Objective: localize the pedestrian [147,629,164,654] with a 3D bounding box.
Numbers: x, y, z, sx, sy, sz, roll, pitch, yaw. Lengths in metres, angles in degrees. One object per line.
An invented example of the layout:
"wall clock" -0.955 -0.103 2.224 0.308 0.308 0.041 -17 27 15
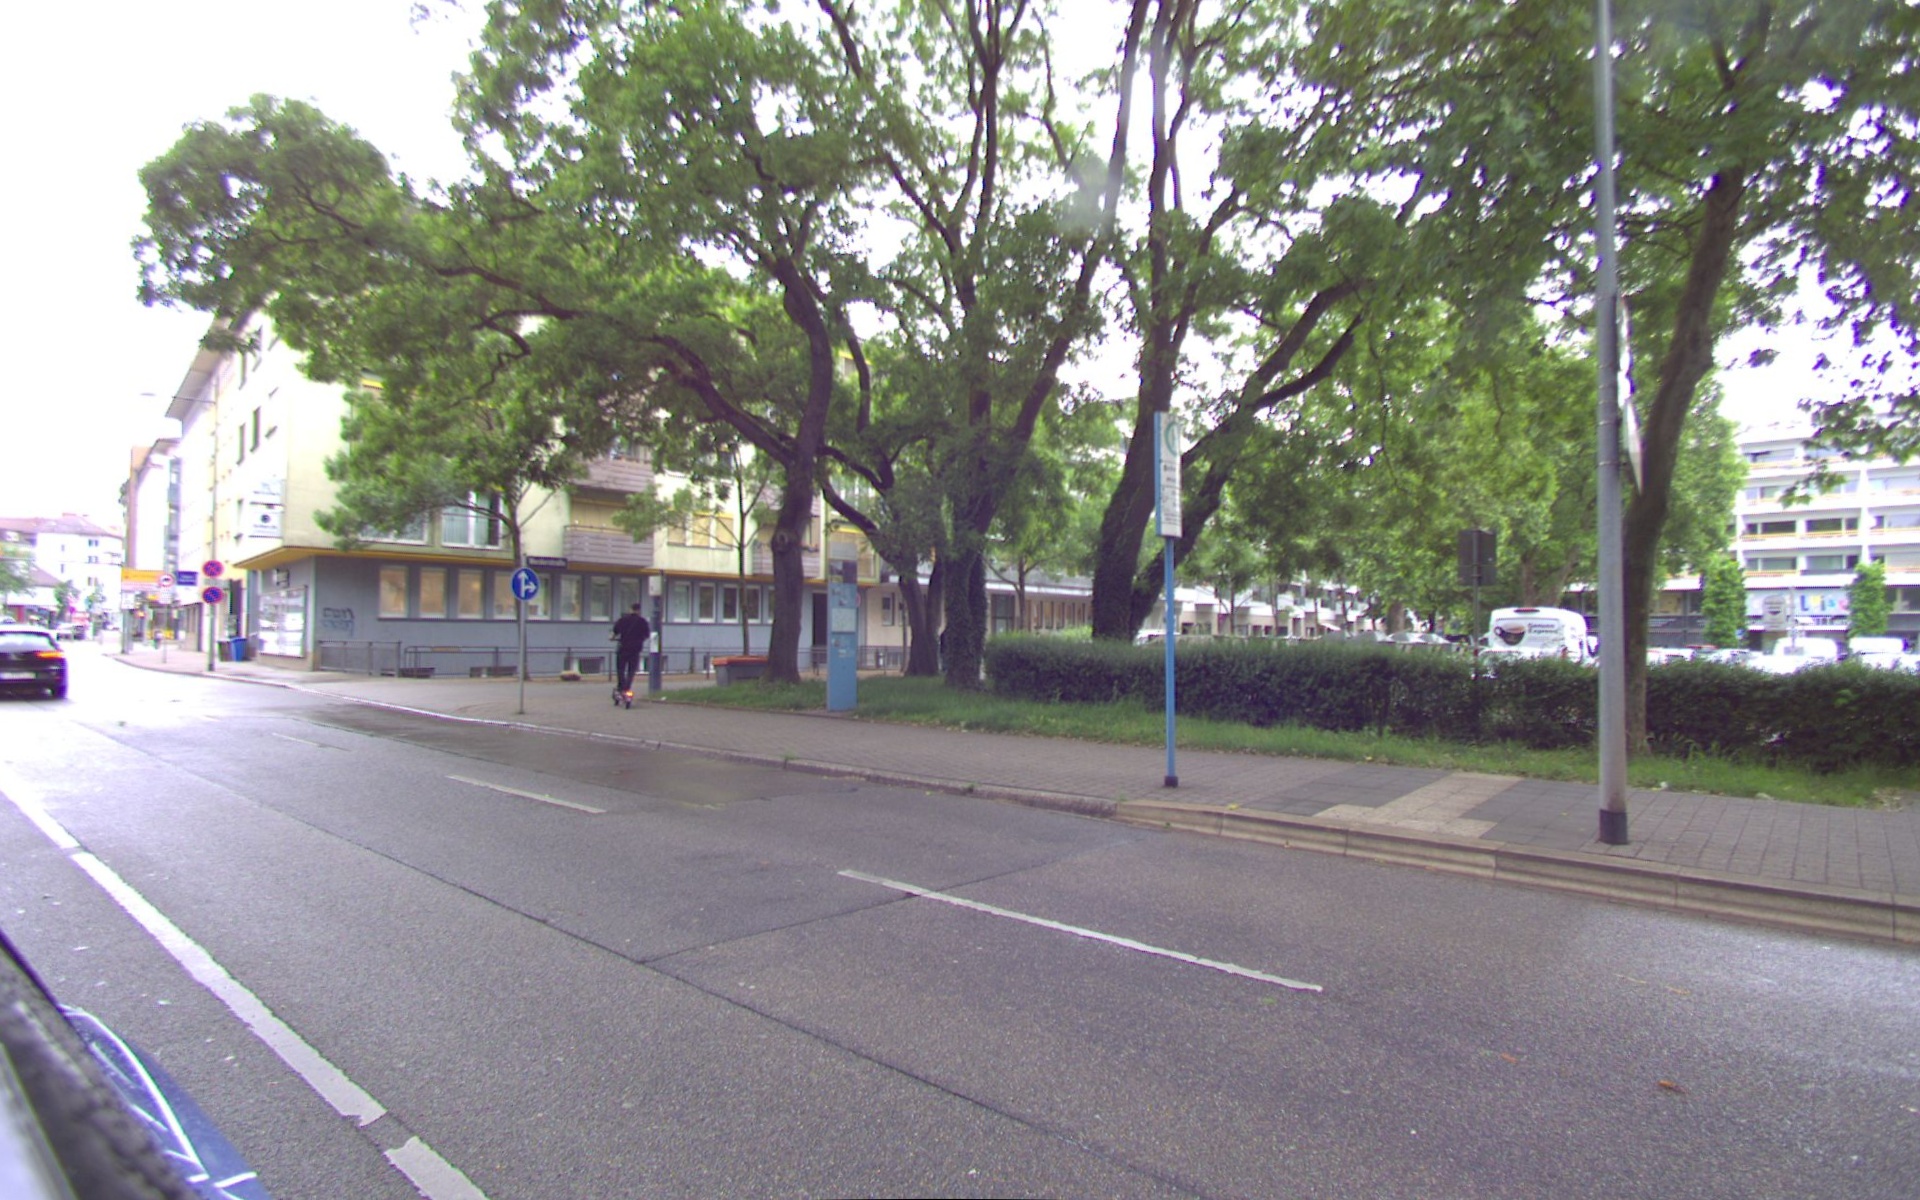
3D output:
"pedestrian" -53.461 2.748 67.242 0.773 1.600 0.675 -1 -1 -29

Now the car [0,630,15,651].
"car" -71.889 3.024 74.147 1.728 1.580 4.703 -1 -1 -12

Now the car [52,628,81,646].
"car" -82.239 3.386 93.142 1.807 1.634 4.007 2 -3 -39

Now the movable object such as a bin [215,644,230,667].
"movable object such as a bin" -31.203 2.327 42.819 0.458 0.935 0.429 -3 1 -42

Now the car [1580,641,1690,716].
"car" 16.718 1.868 24.999 1.895 1.497 3.948 -1 0 39

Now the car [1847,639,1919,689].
"car" 33.343 2.266 36.460 1.895 1.497 3.948 -1 0 39

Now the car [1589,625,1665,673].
"car" 24.043 1.719 36.439 1.895 1.497 3.948 -1 0 39

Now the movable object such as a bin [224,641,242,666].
"movable object such as a bin" -30.002 2.206 41.738 0.522 0.968 0.435 -3 1 -42

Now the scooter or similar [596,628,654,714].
"scooter or similar" -6.124 1.263 18.444 0.803 1.456 1.403 -2 0 -25

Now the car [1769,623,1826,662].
"car" 41.880 2.091 50.678 2.097 1.735 3.948 -1 0 39

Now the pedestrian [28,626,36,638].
"pedestrian" -121.112 4.224 132.106 0.643 1.541 0.636 -1 0 33

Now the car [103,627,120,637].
"car" -127.153 4.827 151.658 1.567 1.539 3.496 2 -3 -36

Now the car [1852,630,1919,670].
"car" 40.310 2.130 44.157 1.895 1.497 3.948 -1 0 39

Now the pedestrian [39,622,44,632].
"pedestrian" -120.035 3.556 132.212 0.394 1.301 0.381 2 -3 -40

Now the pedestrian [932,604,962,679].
"pedestrian" -0.347 1.150 27.955 0.772 2.029 0.752 0 -2 4

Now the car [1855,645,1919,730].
"car" 20.494 1.807 21.606 1.895 1.497 3.948 -1 0 39

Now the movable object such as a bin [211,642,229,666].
"movable object such as a bin" -31.715 2.314 43.366 0.510 1.008 0.524 -3 1 -42

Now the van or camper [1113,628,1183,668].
"van or camper" 10.384 2.645 55.606 1.825 2.029 4.576 1 -2 38

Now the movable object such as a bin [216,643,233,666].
"movable object such as a bin" -30.800 2.279 42.383 0.521 0.935 0.426 -3 1 -42

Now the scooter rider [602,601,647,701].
"scooter rider" -6.142 0.923 18.520 0.722 1.779 0.647 1 -1 -22

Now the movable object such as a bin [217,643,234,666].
"movable object such as a bin" -30.477 2.268 41.995 0.522 0.902 0.435 -3 1 -42

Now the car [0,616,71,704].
"car" -19.480 1.169 20.405 4.137 1.638 1.826 -2 -4 42

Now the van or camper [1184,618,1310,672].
"van or camper" 14.165 2.172 49.468 2.561 2.420 8.535 -2 -3 41

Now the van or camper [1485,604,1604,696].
"van or camper" 16.879 1.419 29.146 2.099 2.450 4.280 -2 -3 42

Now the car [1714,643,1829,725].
"car" 18.597 1.838 23.215 1.895 1.497 3.948 -1 0 39
